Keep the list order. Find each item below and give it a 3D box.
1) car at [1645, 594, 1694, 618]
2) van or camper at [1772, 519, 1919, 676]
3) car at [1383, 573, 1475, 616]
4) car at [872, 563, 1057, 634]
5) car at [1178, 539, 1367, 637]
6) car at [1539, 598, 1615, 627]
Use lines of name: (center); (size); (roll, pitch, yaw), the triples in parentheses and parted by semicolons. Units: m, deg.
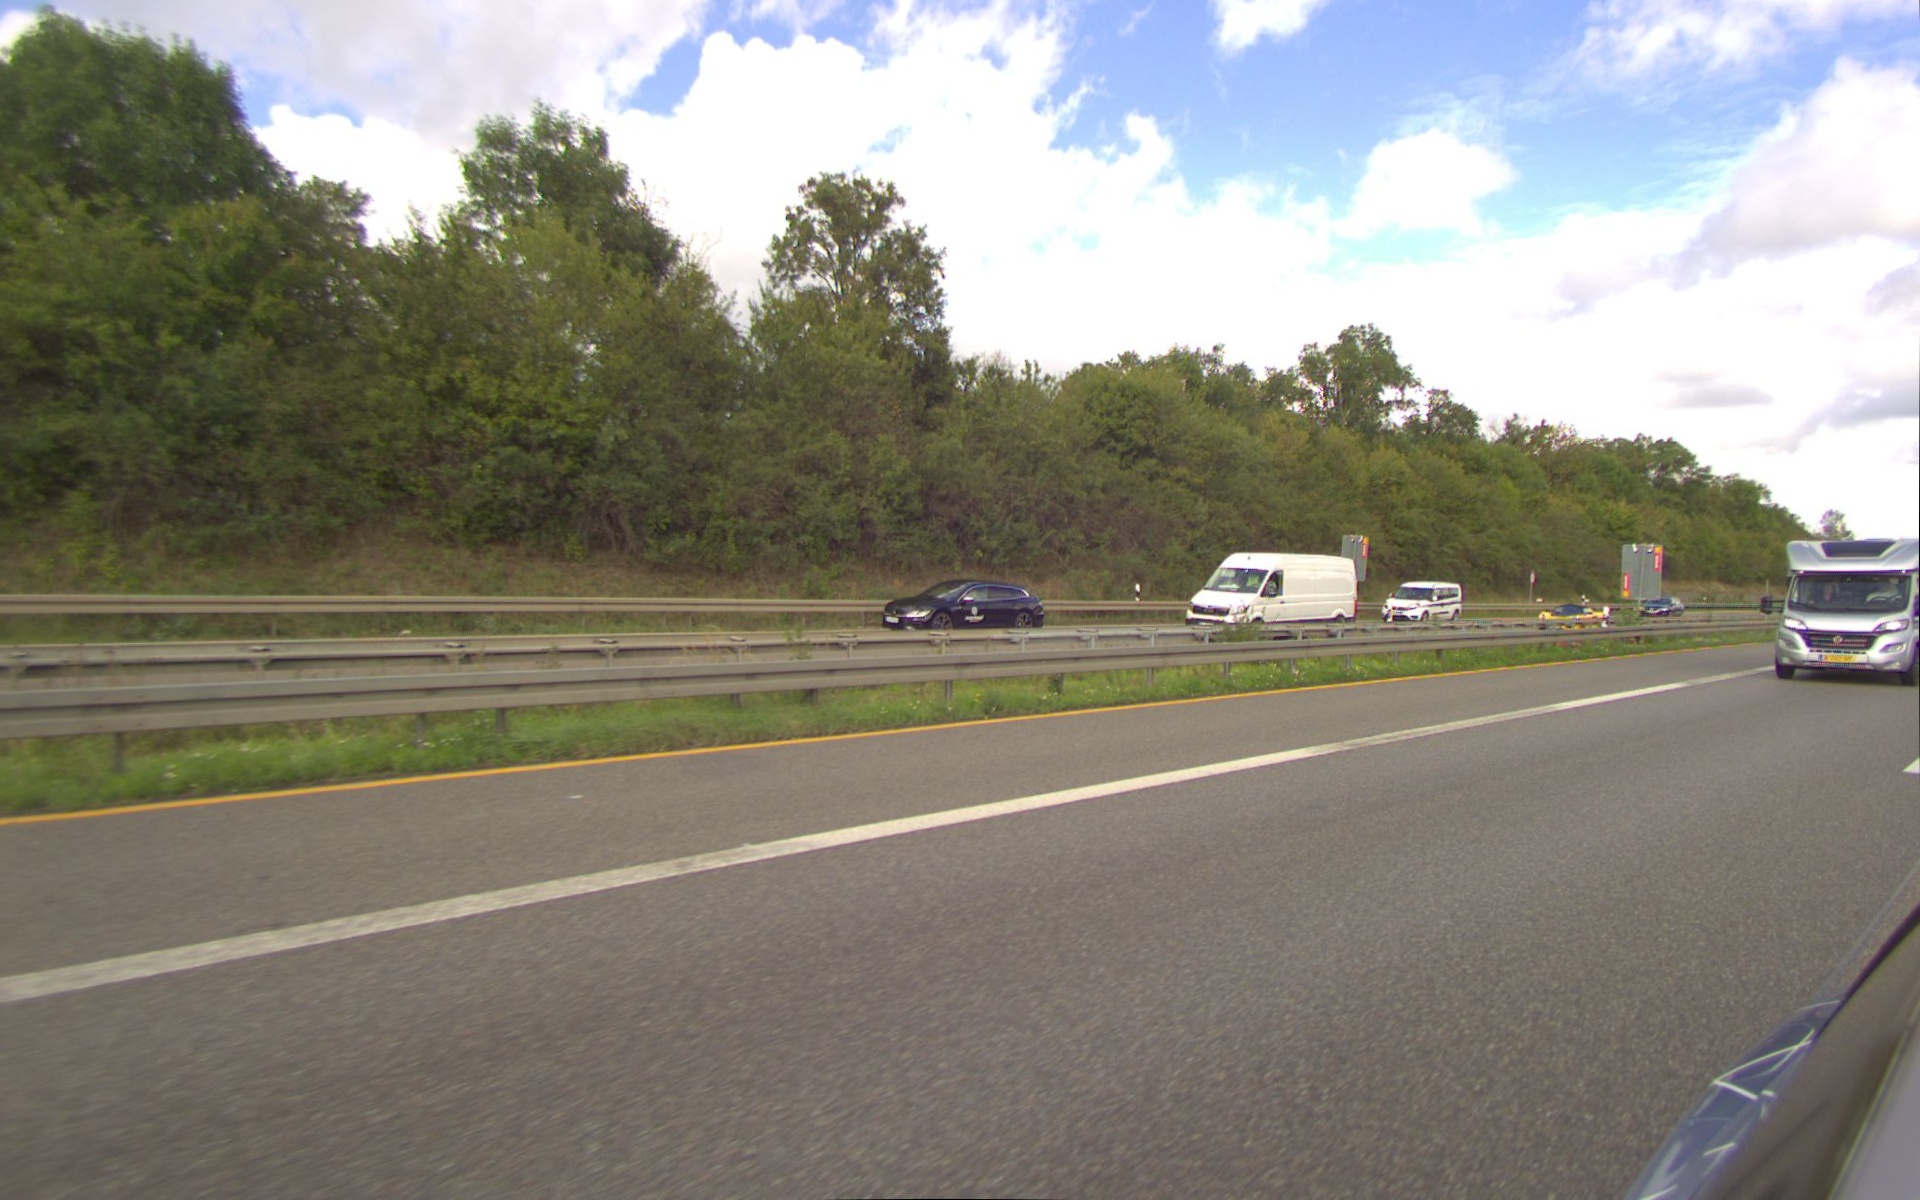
car: (46.947, 0.392, 66.940); (4.095, 1.433, 1.715); (0, 1, -41)
van or camper: (19.085, -0.053, 20.780); (7.527, 2.756, 2.473); (0, 0, -41)
car: (20.373, -0.224, 43.904); (4.680, 1.774, 1.847); (0, 0, -41)
car: (0.193, -0.055, 25.991); (4.681, 1.622, 1.847); (0, 3, -42)
car: (9.267, -0.340, 29.596); (6.625, 2.586, 2.074); (0, 2, -41)
car: (27.116, 0.525, 44.422); (4.096, 1.196, 1.715); (0, 1, -41)
